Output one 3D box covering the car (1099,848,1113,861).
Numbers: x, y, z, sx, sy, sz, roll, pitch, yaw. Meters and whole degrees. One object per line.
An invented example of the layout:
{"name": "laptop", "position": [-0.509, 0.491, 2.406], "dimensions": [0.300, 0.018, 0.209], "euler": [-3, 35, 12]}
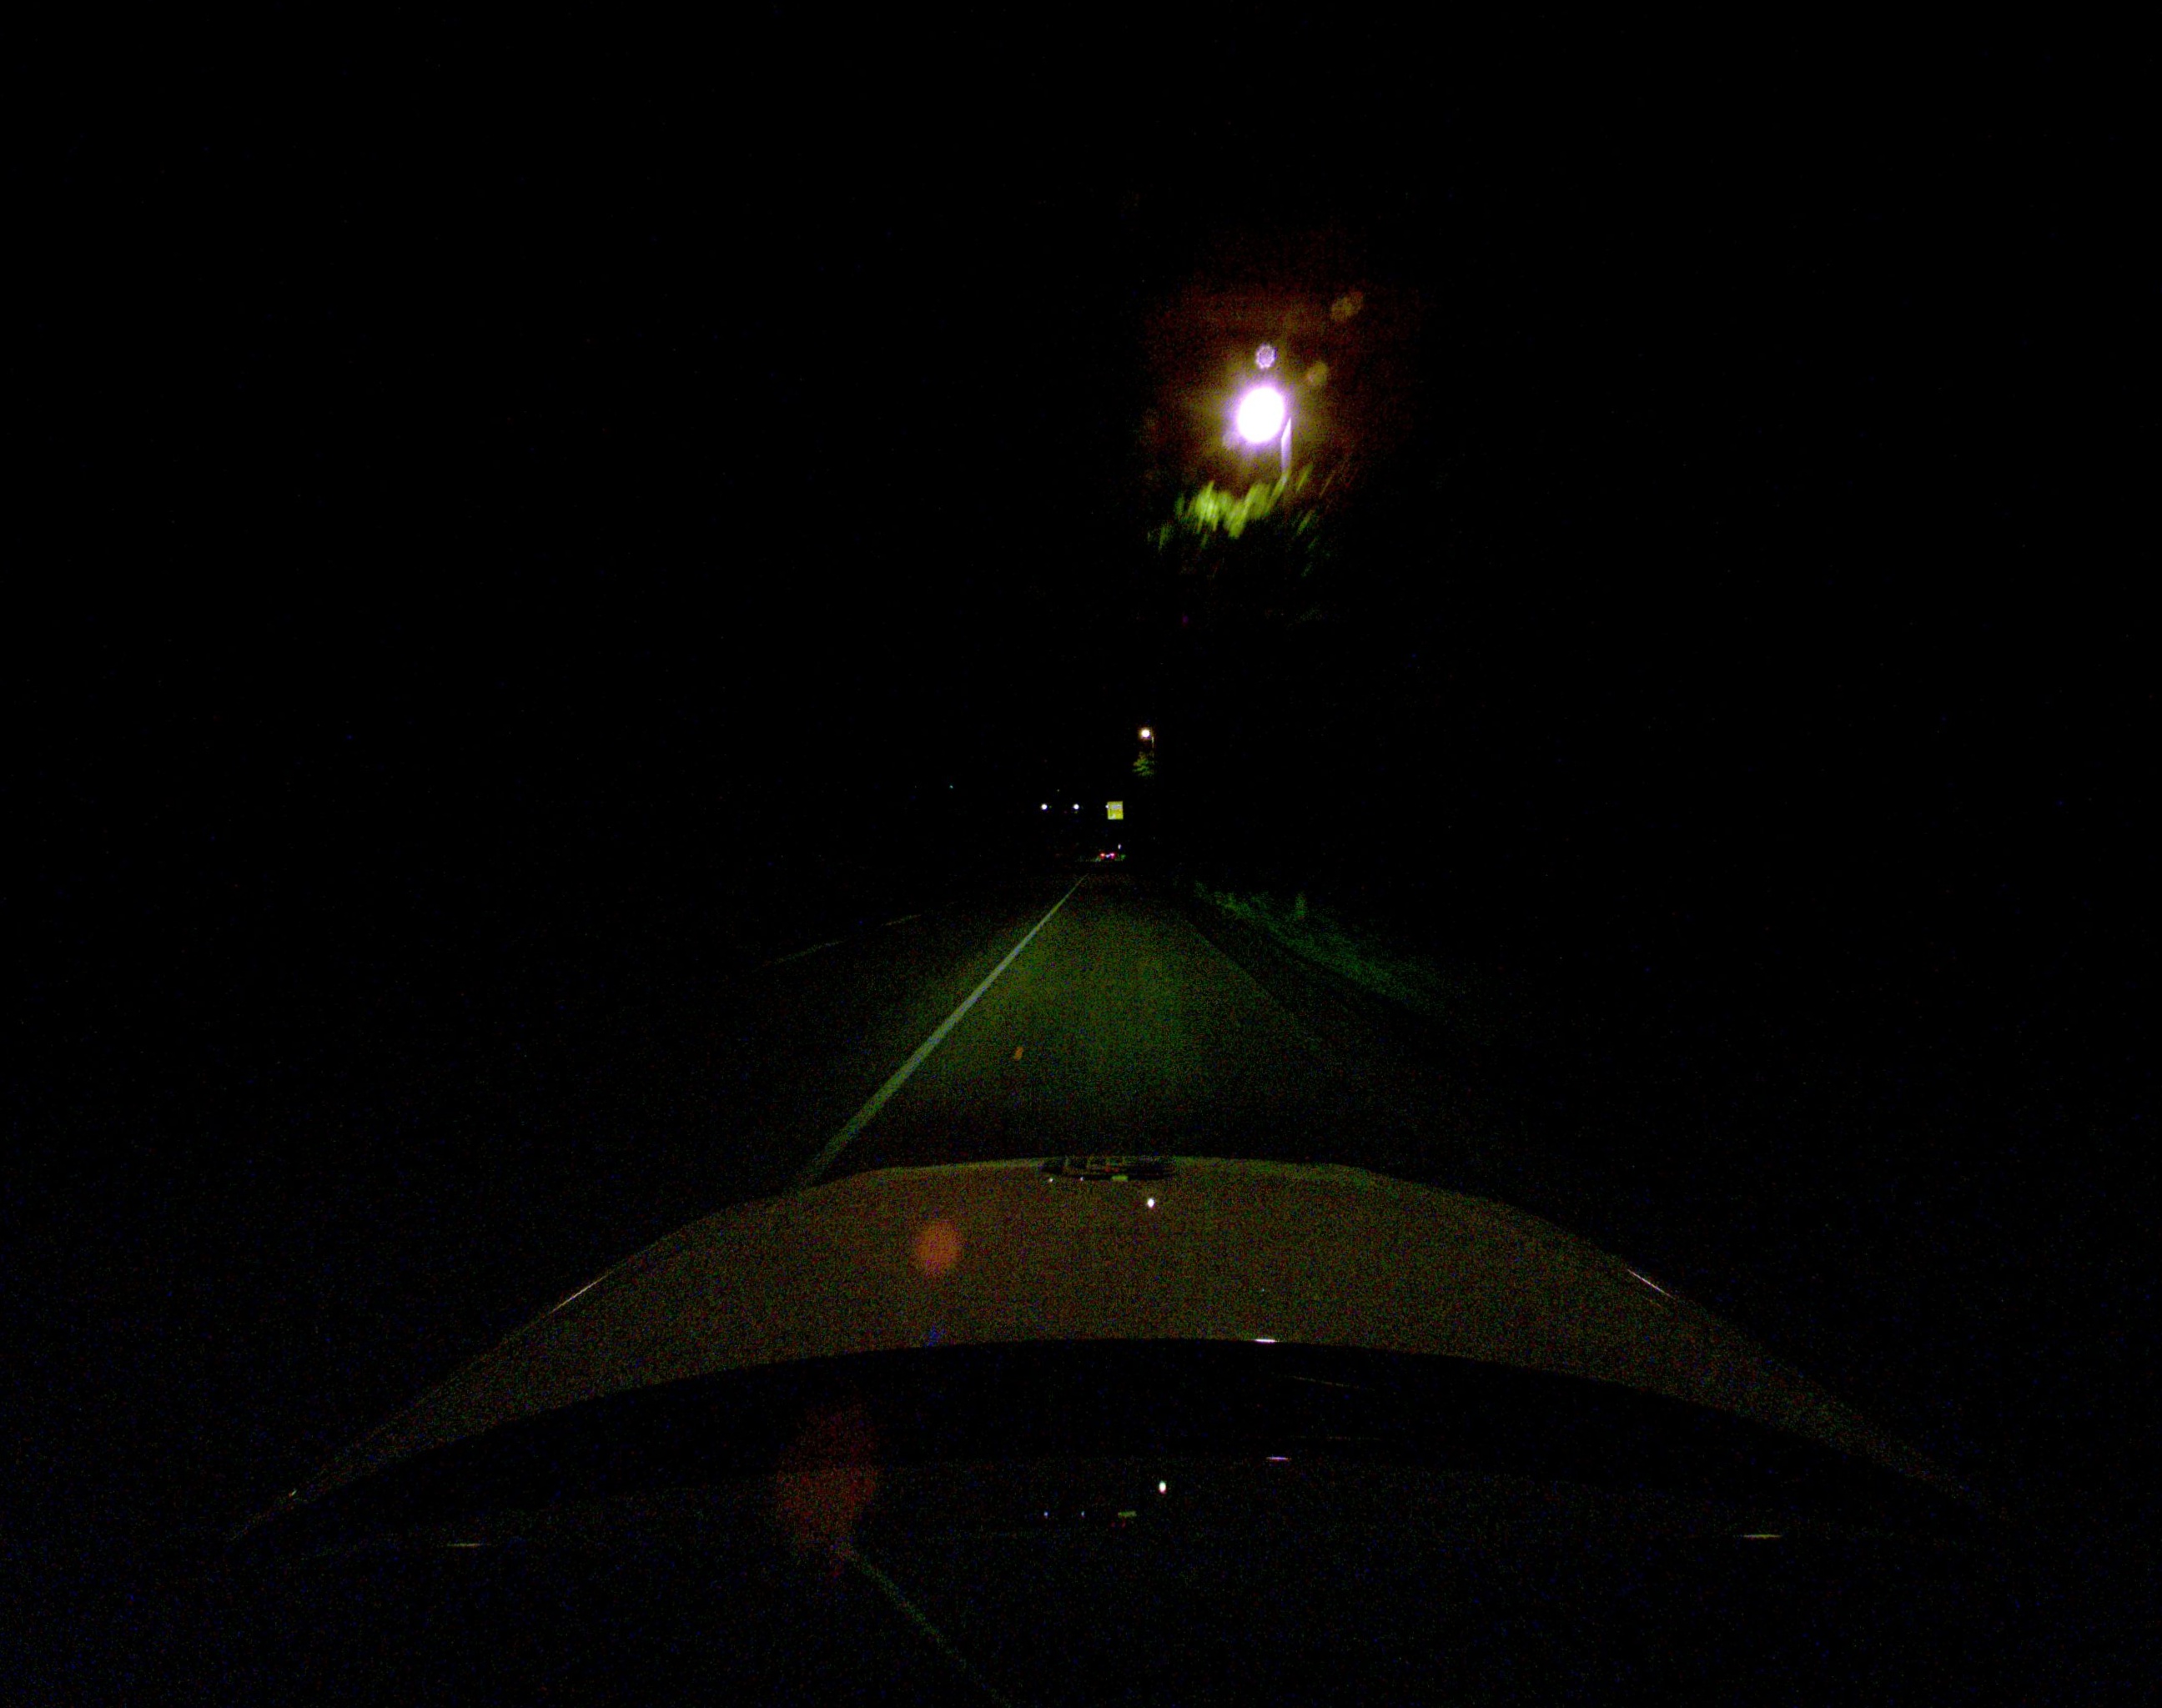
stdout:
{"name": "car", "position": [3.335, 0.044, 109.238], "dimensions": [1.758, 1.641, 3.722], "euler": [-1, 1, -1]}
